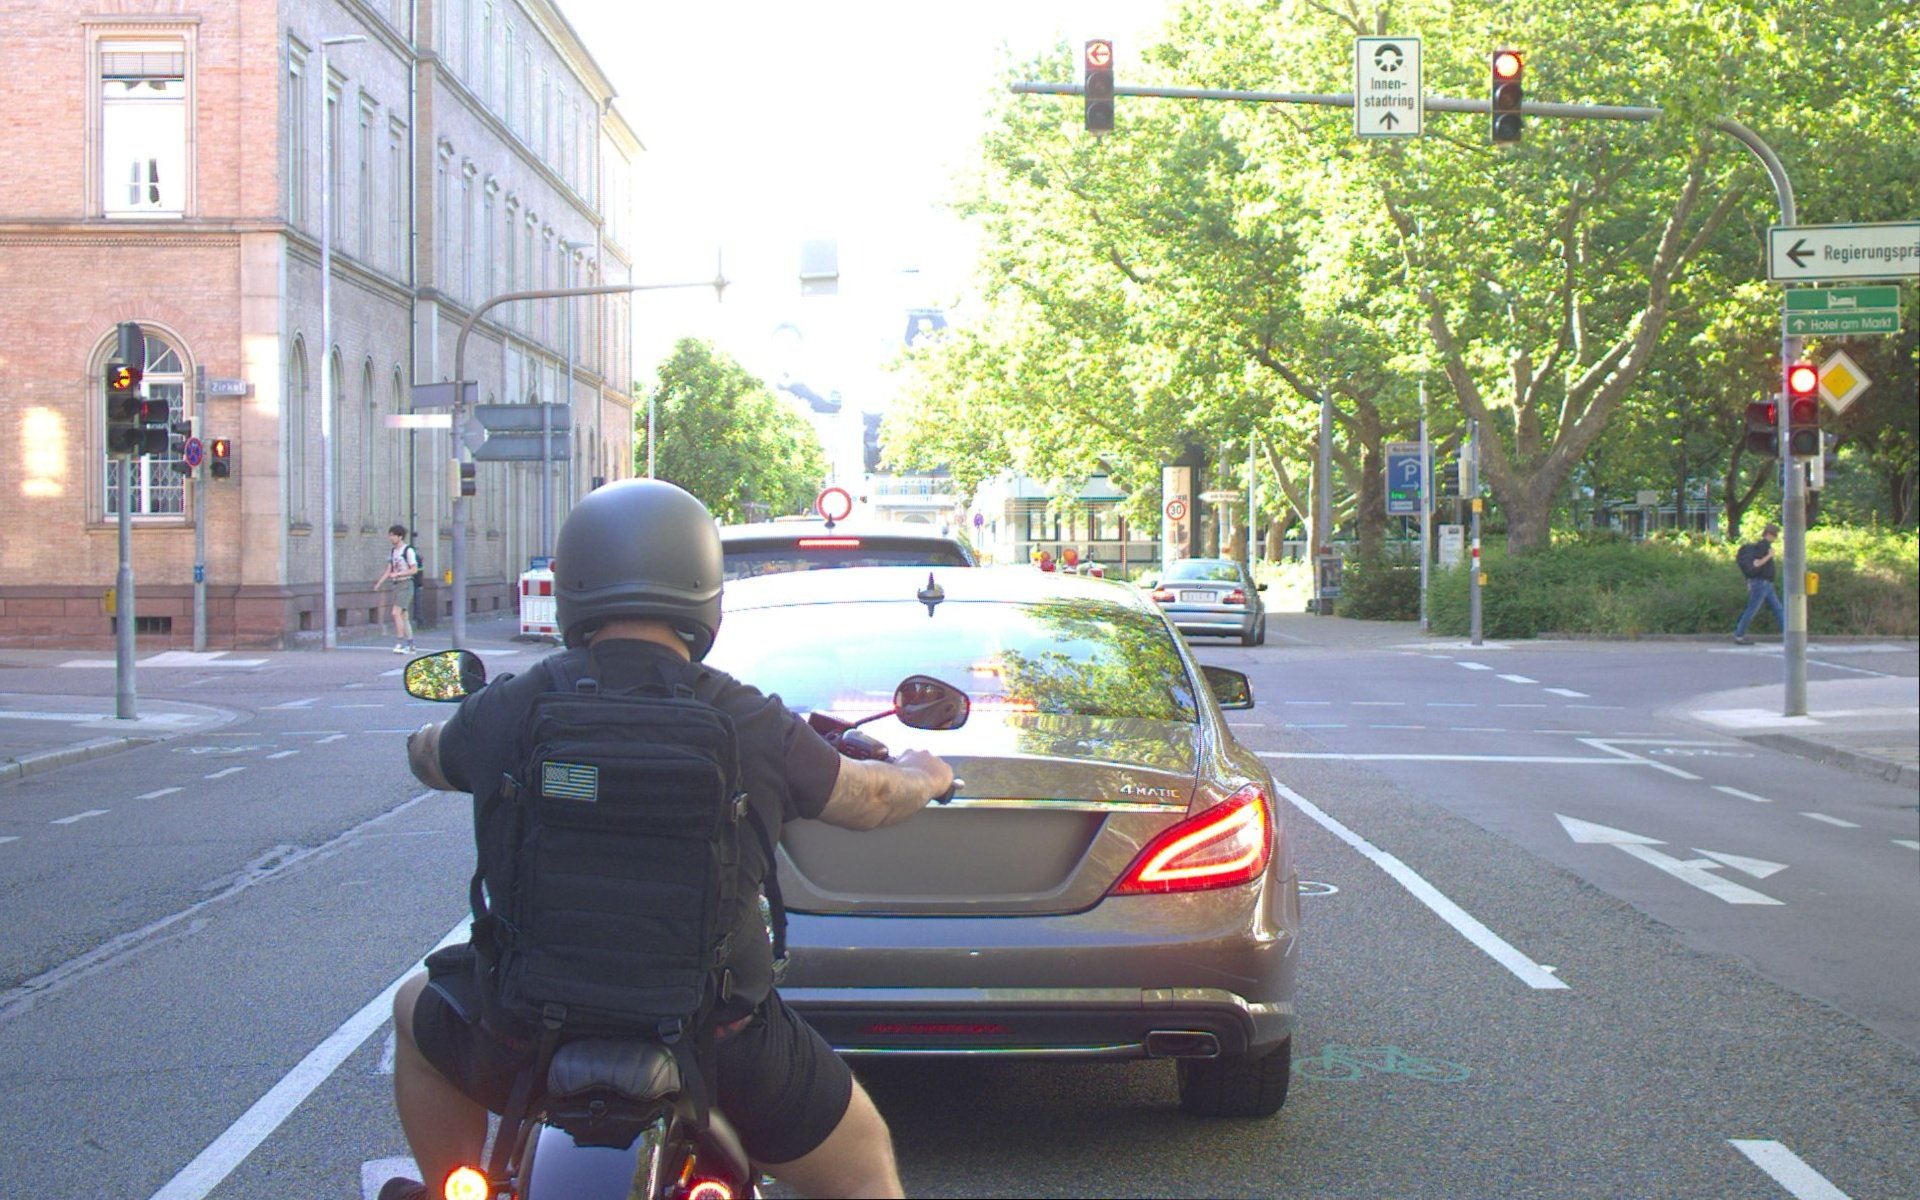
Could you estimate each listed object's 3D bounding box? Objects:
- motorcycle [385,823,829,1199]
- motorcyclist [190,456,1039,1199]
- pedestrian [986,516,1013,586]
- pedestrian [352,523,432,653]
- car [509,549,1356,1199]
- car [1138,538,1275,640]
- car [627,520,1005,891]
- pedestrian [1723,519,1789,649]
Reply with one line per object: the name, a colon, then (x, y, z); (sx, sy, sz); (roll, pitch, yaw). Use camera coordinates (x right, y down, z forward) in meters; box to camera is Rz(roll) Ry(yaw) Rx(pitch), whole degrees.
motorcycle: (-0.498, 0.931, 5.434); (0.513, 0.999, 2.013); (1, 1, -1)
motorcyclist: (-0.485, 0.600, 5.358); (1.149, 1.593, 1.288); (1, 0, -1)
pedestrian: (1.160, -1.445, 100.830); (0.764, 2.044, 0.712); (1, 0, -1)
pedestrian: (-8.144, -0.174, 49.242); (1.001, 1.820, 1.076); (1, 0, -15)
car: (-0.084, 0.601, 9.624); (1.882, 1.444, 3.820); (1, 1, -1)
car: (4.033, -0.194, 55.798); (1.853, 1.569, 4.134); (1, 1, 9)
car: (-0.639, 0.417, 16.740); (1.621, 1.588, 4.000); (0, 1, -1)
pedestrian: (11.875, -0.239, 51.300); (0.923, 1.903, 0.751); (1, 0, 12)
